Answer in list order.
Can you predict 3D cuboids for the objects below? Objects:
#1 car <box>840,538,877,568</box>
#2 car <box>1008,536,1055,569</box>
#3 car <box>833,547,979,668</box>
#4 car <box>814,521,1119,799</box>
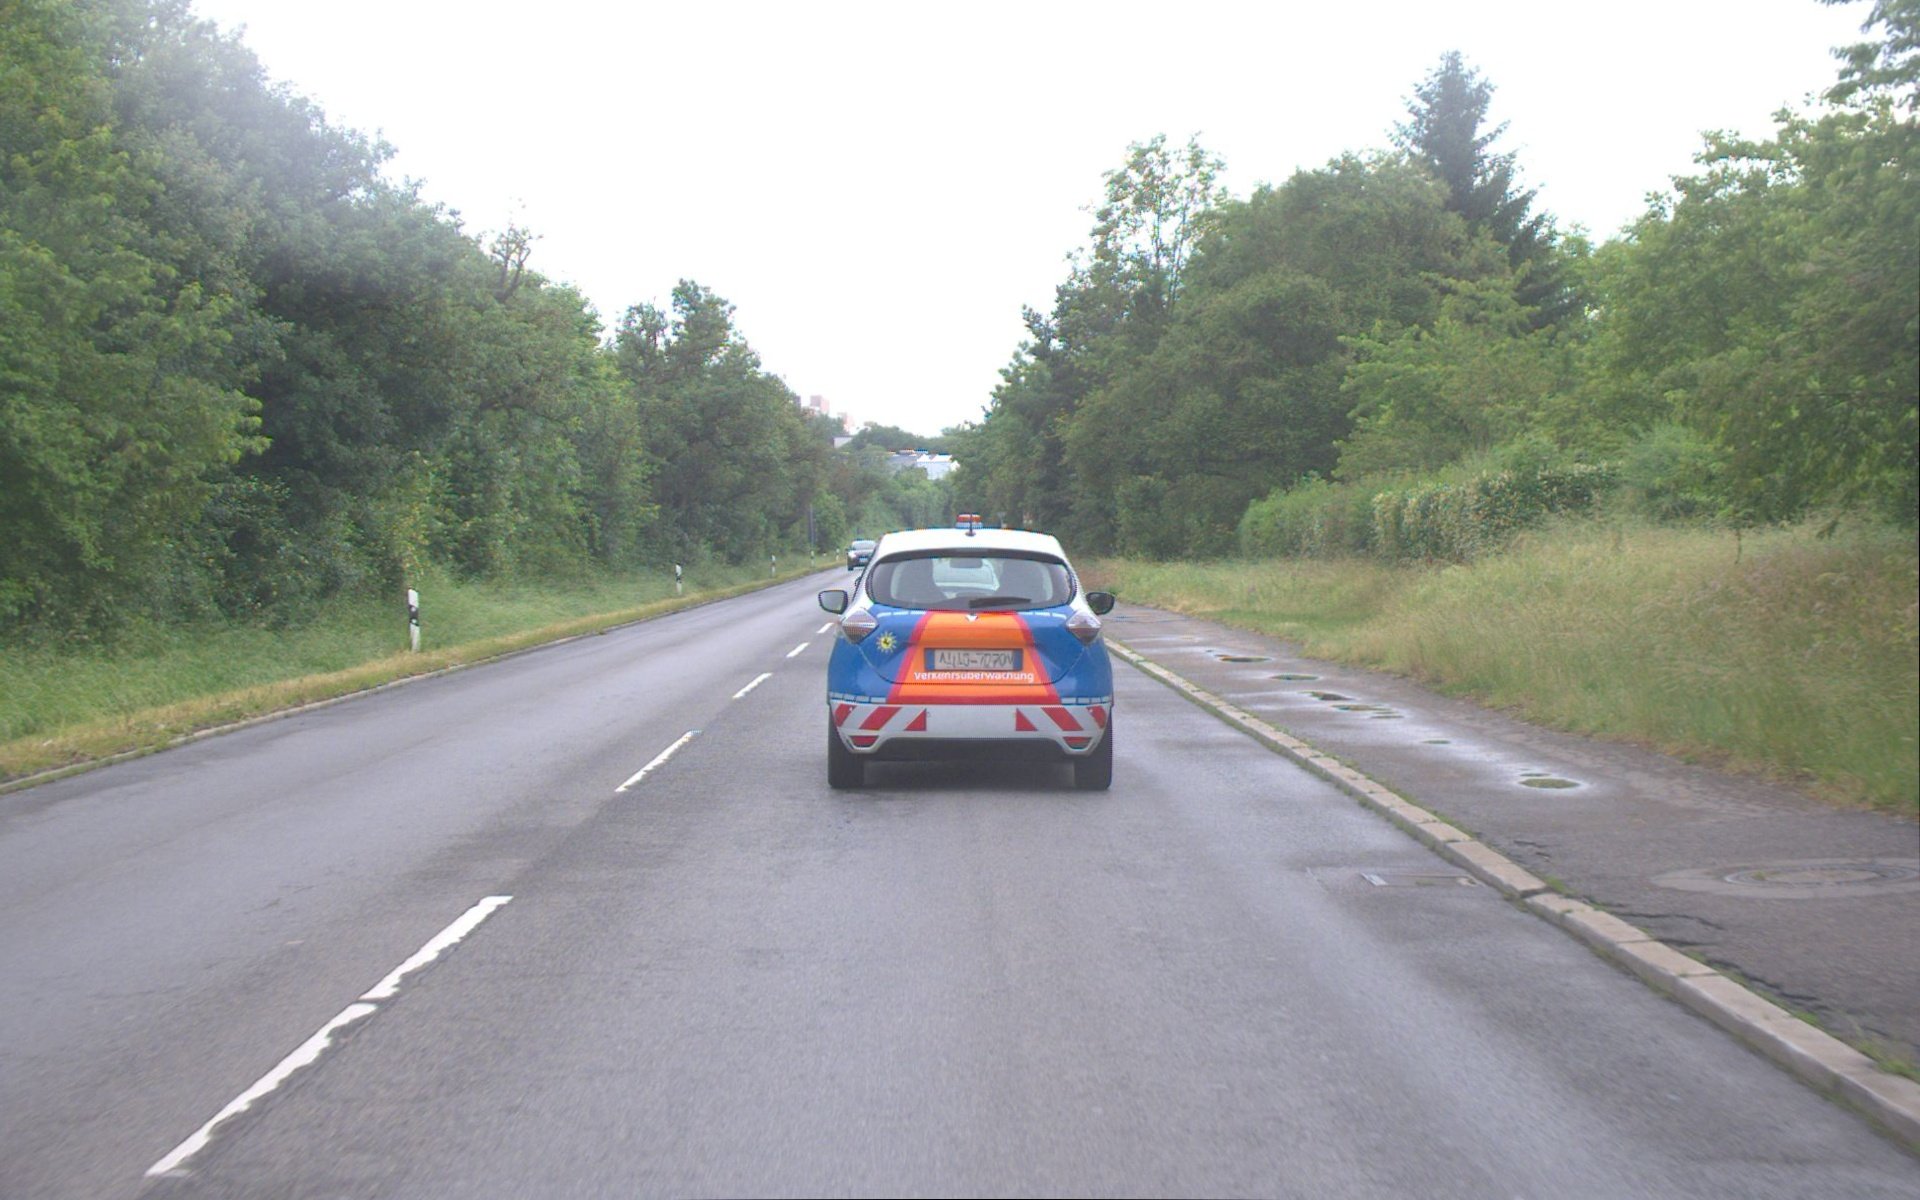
[{"bbox_3d":[-5.646,-2.628,191.421,1.905,1.551,4.516,-2,1,0],"label":"car"},{"bbox_3d":[3.147,-2.111,151.905,1.993,1.371,4.000,-2,1,0],"label":"car"},{"bbox_3d":[-0.593,0.055,40.074,1.598,1.282,3.476,-2,1,0],"label":"car"},{"bbox_3d":[0.018,0.303,21.656,1.752,1.550,3.793,0,2,-1],"label":"car"}]
